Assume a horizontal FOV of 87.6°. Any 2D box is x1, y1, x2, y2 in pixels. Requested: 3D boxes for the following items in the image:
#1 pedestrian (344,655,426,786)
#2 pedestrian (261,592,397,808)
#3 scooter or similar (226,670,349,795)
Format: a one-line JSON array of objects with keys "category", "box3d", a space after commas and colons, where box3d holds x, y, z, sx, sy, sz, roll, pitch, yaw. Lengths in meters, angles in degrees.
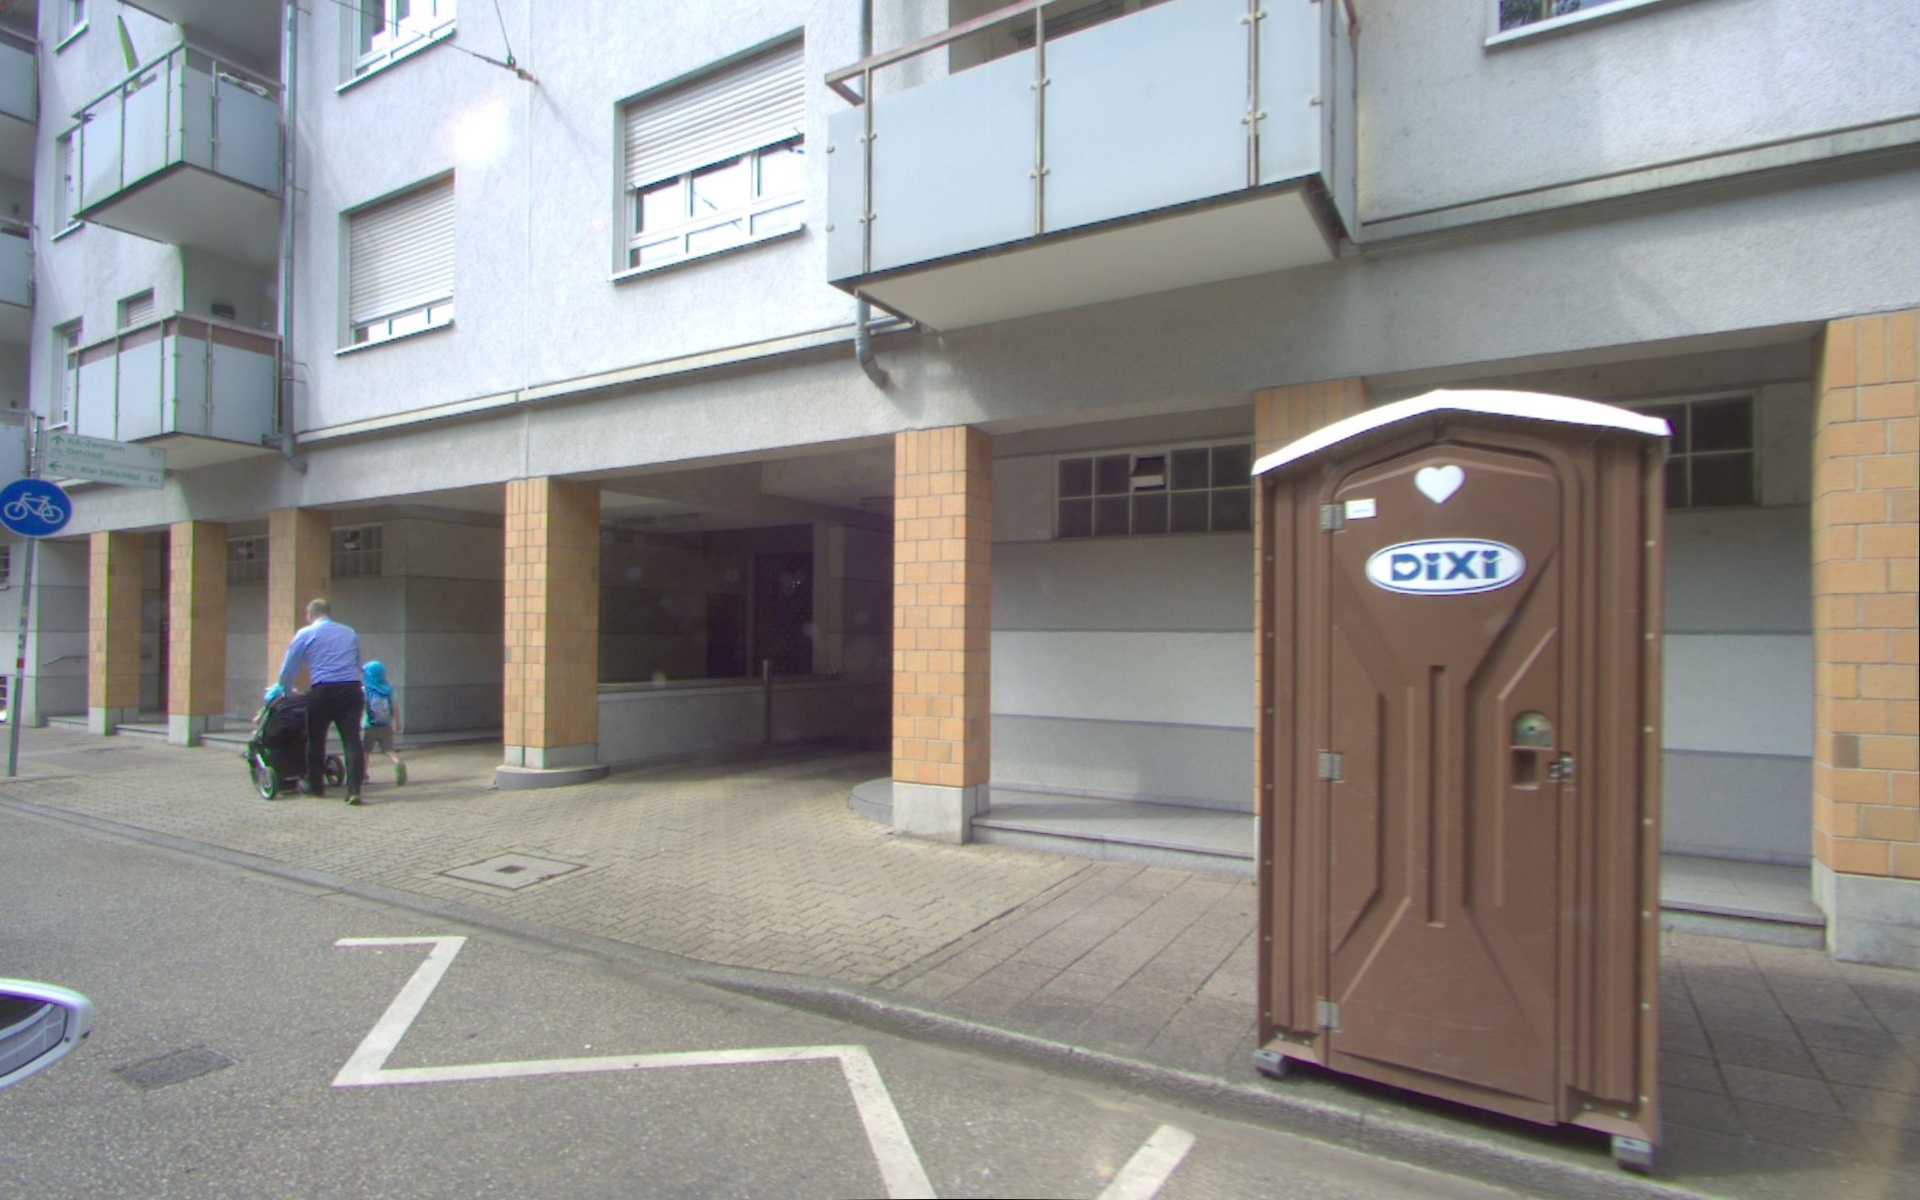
[{"category": "pedestrian", "box3d": [-5.399, 1.115, 9.409, 0.487, 1.150, 0.455, 0, 2, 32]}, {"category": "pedestrian", "box3d": [-5.463, 0.825, 8.675, 0.865, 1.762, 0.619, 0, 2, 32]}, {"category": "scooter or similar", "box3d": [-6.181, 1.187, 9.202, 0.893, 1.016, 0.591, -1, 2, 32]}]
